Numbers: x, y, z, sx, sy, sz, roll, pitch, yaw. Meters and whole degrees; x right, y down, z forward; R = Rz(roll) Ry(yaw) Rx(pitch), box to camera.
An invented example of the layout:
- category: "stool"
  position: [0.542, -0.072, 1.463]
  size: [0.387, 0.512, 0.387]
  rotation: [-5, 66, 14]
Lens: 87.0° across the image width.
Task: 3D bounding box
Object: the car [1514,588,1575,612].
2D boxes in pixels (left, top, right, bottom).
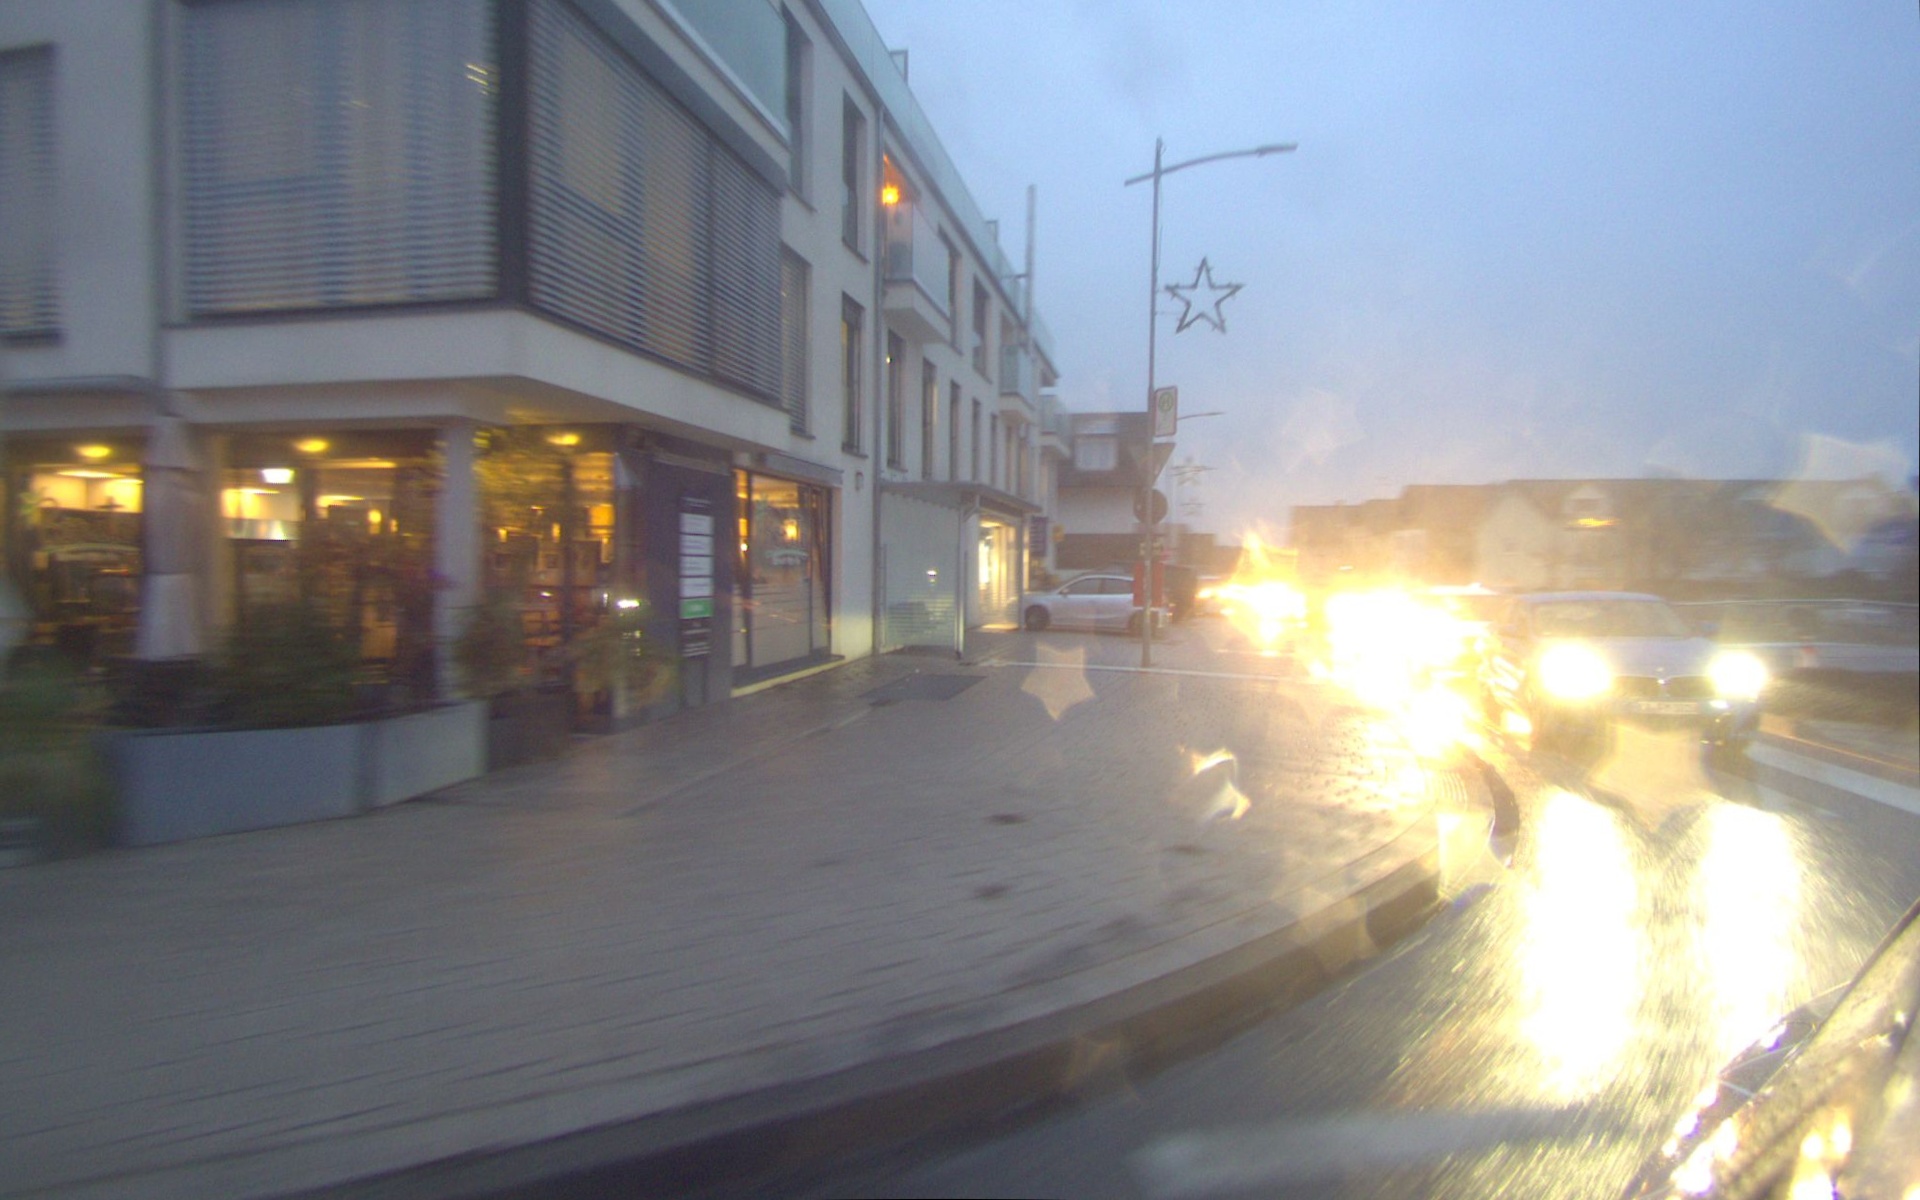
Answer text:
- category: "car"
  position: [39.066, -0.035, 67.745]
  size: [1.767, 1.487, 4.255]
  rotation: [1, 1, 2]

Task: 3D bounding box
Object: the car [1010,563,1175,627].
- category: "car"
  position: [3.784, -0.188, 28.862]
  size: [4.452, 1.510, 1.969]
  rotation: [3, 3, 11]

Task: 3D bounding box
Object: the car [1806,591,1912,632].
- category: "car"
  position: [37.088, 0.450, 41.851]
  size: [1.453, 1.527, 3.499]
  rotation: [1, 1, 6]

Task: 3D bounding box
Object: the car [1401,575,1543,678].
- category: "car"
  position: [9.157, 0.411, 18.399]
  size: [1.660, 1.644, 3.977]
  rotation: [1, 0, 18]

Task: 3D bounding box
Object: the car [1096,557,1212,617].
- category: "car"
  position: [7.379, -0.502, 38.839]
  size: [4.084, 1.654, 1.751]
  rotation: [8, 2, 7]

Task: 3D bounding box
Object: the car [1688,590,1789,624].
- category: "car"
  position: [38.054, 0.299, 49.599]
  size: [1.767, 1.487, 4.255]
  rotation: [1, 1, 2]

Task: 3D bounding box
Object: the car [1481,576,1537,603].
- category: "car"
  position: [39.306, -0.770, 72.572]
  size: [1.767, 1.849, 4.256]
  rotation: [1, 1, 2]

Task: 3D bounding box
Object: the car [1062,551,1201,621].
- category: "car"
  position: [5.986, -0.503, 35.311]
  size: [4.487, 1.957, 1.968]
  rotation: [6, 2, 13]

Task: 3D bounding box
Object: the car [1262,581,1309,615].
- category: "car"
  position: [16.511, -0.120, 51.477]
  size: [1.805, 1.563, 3.705]
  rotation: [0, 2, 10]

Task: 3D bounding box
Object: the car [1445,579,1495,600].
- category: "car"
  position: [39.485, -0.848, 78.402]
  size: [1.644, 1.487, 4.019]
  rotation: [3, 1, -2]

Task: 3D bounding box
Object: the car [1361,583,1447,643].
- category: "car"
  position: [11.779, 0.305, 27.043]
  size: [1.550, 1.487, 3.599]
  rotation: [-1, 1, 15]

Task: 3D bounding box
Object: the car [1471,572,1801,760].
- category: "car"
  position: [6.858, 0.544, 10.801]
  size: [1.864, 1.599, 3.977]
  rotation: [-1, 0, 18]

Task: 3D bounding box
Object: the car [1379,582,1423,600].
- category: "car"
  position: [39.362, -0.858, 90.447]
  size: [1.765, 1.487, 4.619]
  rotation: [1, 1, -2]

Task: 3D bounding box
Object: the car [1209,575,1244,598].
- category: "car"
  position: [24.454, -1.242, 93.013]
  size: [1.961, 2.039, 4.003]
  rotation: [0, 1, -3]

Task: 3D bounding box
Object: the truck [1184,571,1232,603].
- category: "truck"
  position: [18.199, -0.994, 74.576]
  size: [2.207, 2.258, 6.102]
  rotation: [0, 1, 2]

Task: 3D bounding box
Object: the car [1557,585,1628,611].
- category: "car"
  position: [38.885, -0.140, 62.357]
  size: [1.767, 1.487, 4.255]
  rotation: [1, 1, 2]

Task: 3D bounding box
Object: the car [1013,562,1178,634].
- category: "car"
  position: [3.379, -0.084, 25.650]
  size: [3.931, 1.521, 1.811]
  rotation: [3, 3, 6]

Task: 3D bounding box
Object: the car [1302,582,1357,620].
- category: "car"
  position: [15.085, -0.010, 41.512]
  size: [1.717, 1.461, 3.982]
  rotation: [-1, 1, 15]
